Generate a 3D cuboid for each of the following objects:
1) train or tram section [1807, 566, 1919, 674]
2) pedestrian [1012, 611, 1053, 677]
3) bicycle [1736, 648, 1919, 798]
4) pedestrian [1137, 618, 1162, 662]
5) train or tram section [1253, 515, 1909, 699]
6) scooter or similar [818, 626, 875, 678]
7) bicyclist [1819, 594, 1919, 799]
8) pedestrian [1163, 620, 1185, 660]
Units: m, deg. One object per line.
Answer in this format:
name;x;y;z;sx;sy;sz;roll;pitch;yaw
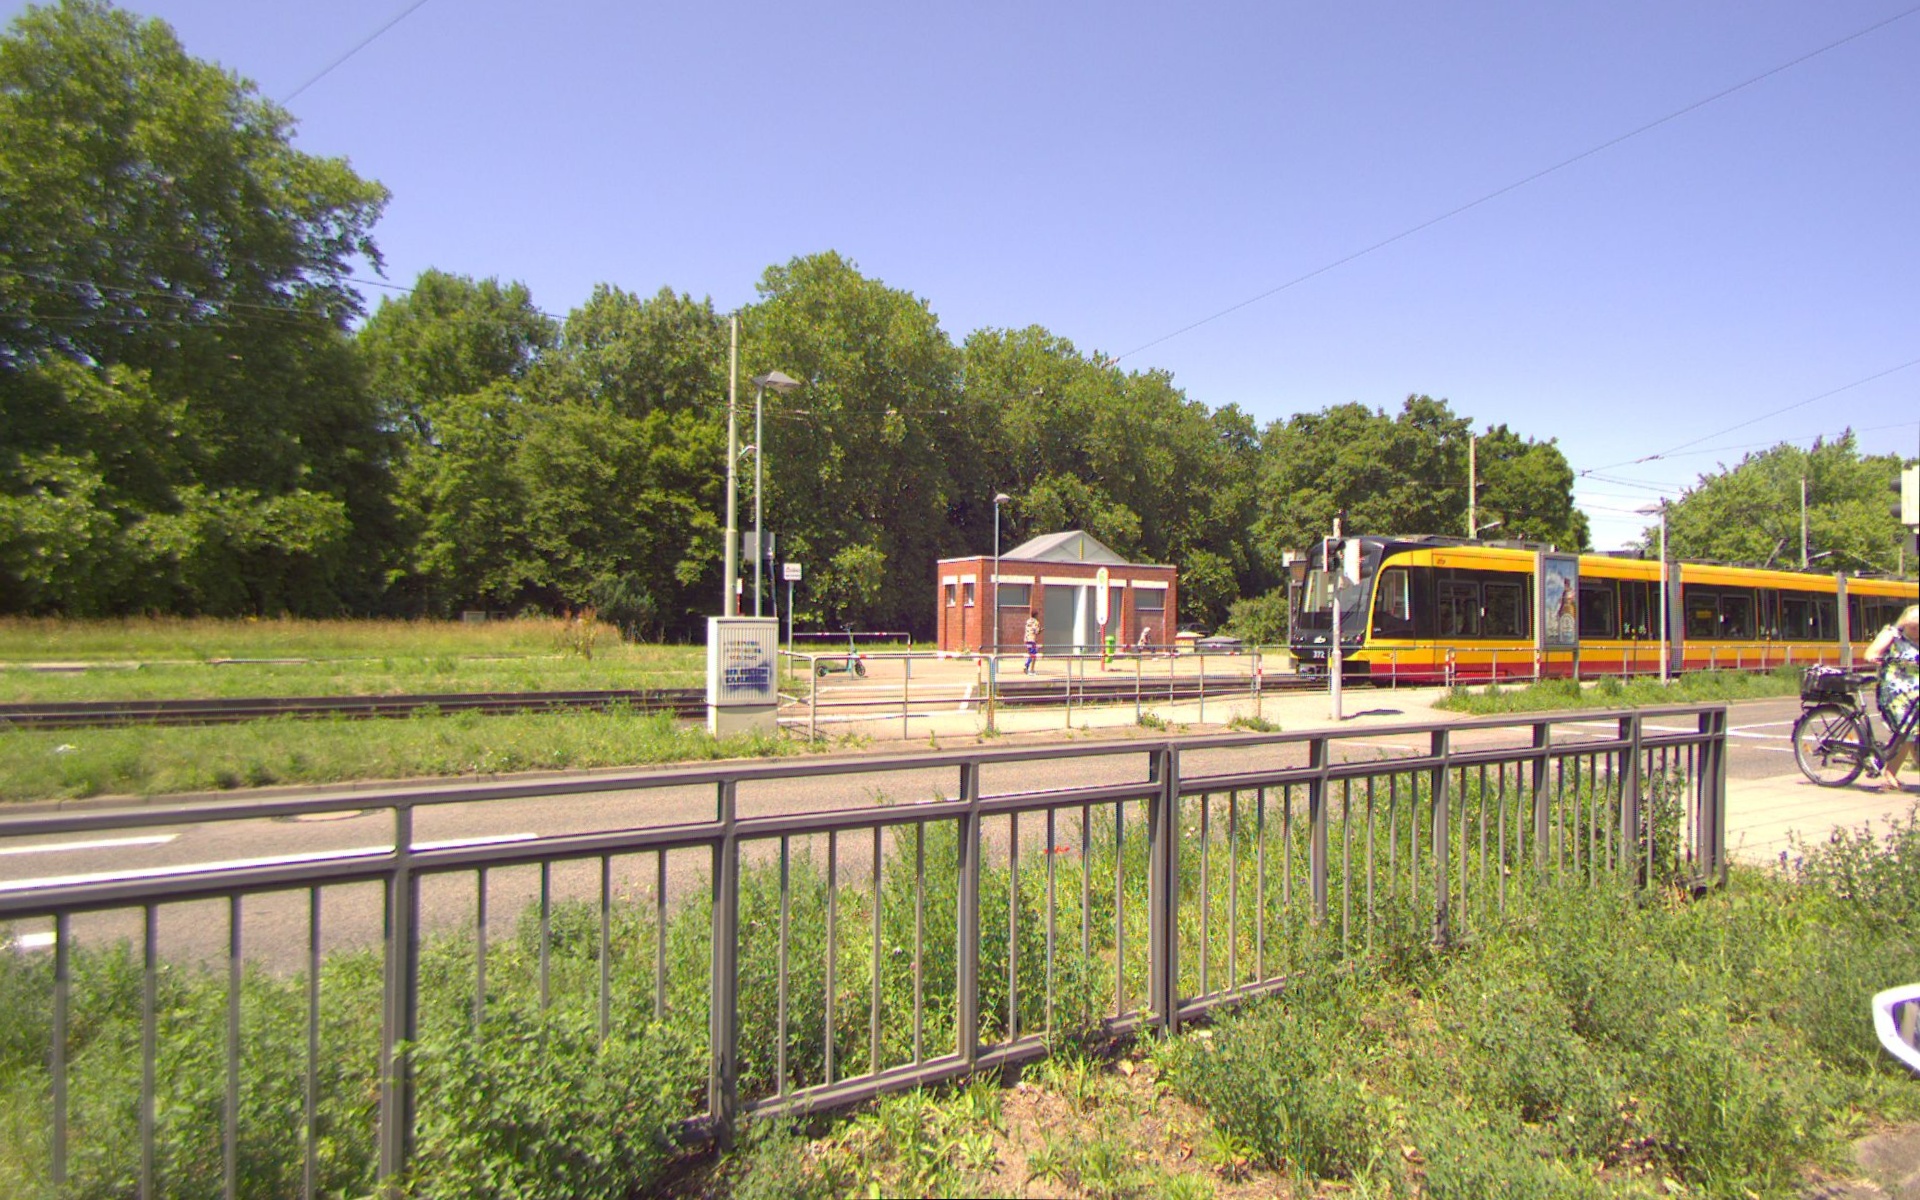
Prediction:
train or tram section;47.079;1.074;45.354;32.699;3.840;2.917;1;-1;-31
pedestrian;1.813;1.090;25.181;0.799;1.611;0.668;1;-1;-30
bicycle;7.760;1.003;8.519;0.531;1.176;1.960;-1;-2;-11
pedestrian;6.606;1.391;35.070;0.563;1.499;0.636;1;-1;-30
train or tram section;20.283;0.464;29.498;29.680;3.799;2.944;1;-1;-31
scooter or similar;-2.637;1.207;23.449;1.217;1.183;0.508;1;-1;-30
bicyclist;8.115;0.803;8.594;0.570;1.688;0.958;-1;-2;-12
pedestrian;7.977;1.480;37.483;0.574;1.476;0.638;1;-1;-18
